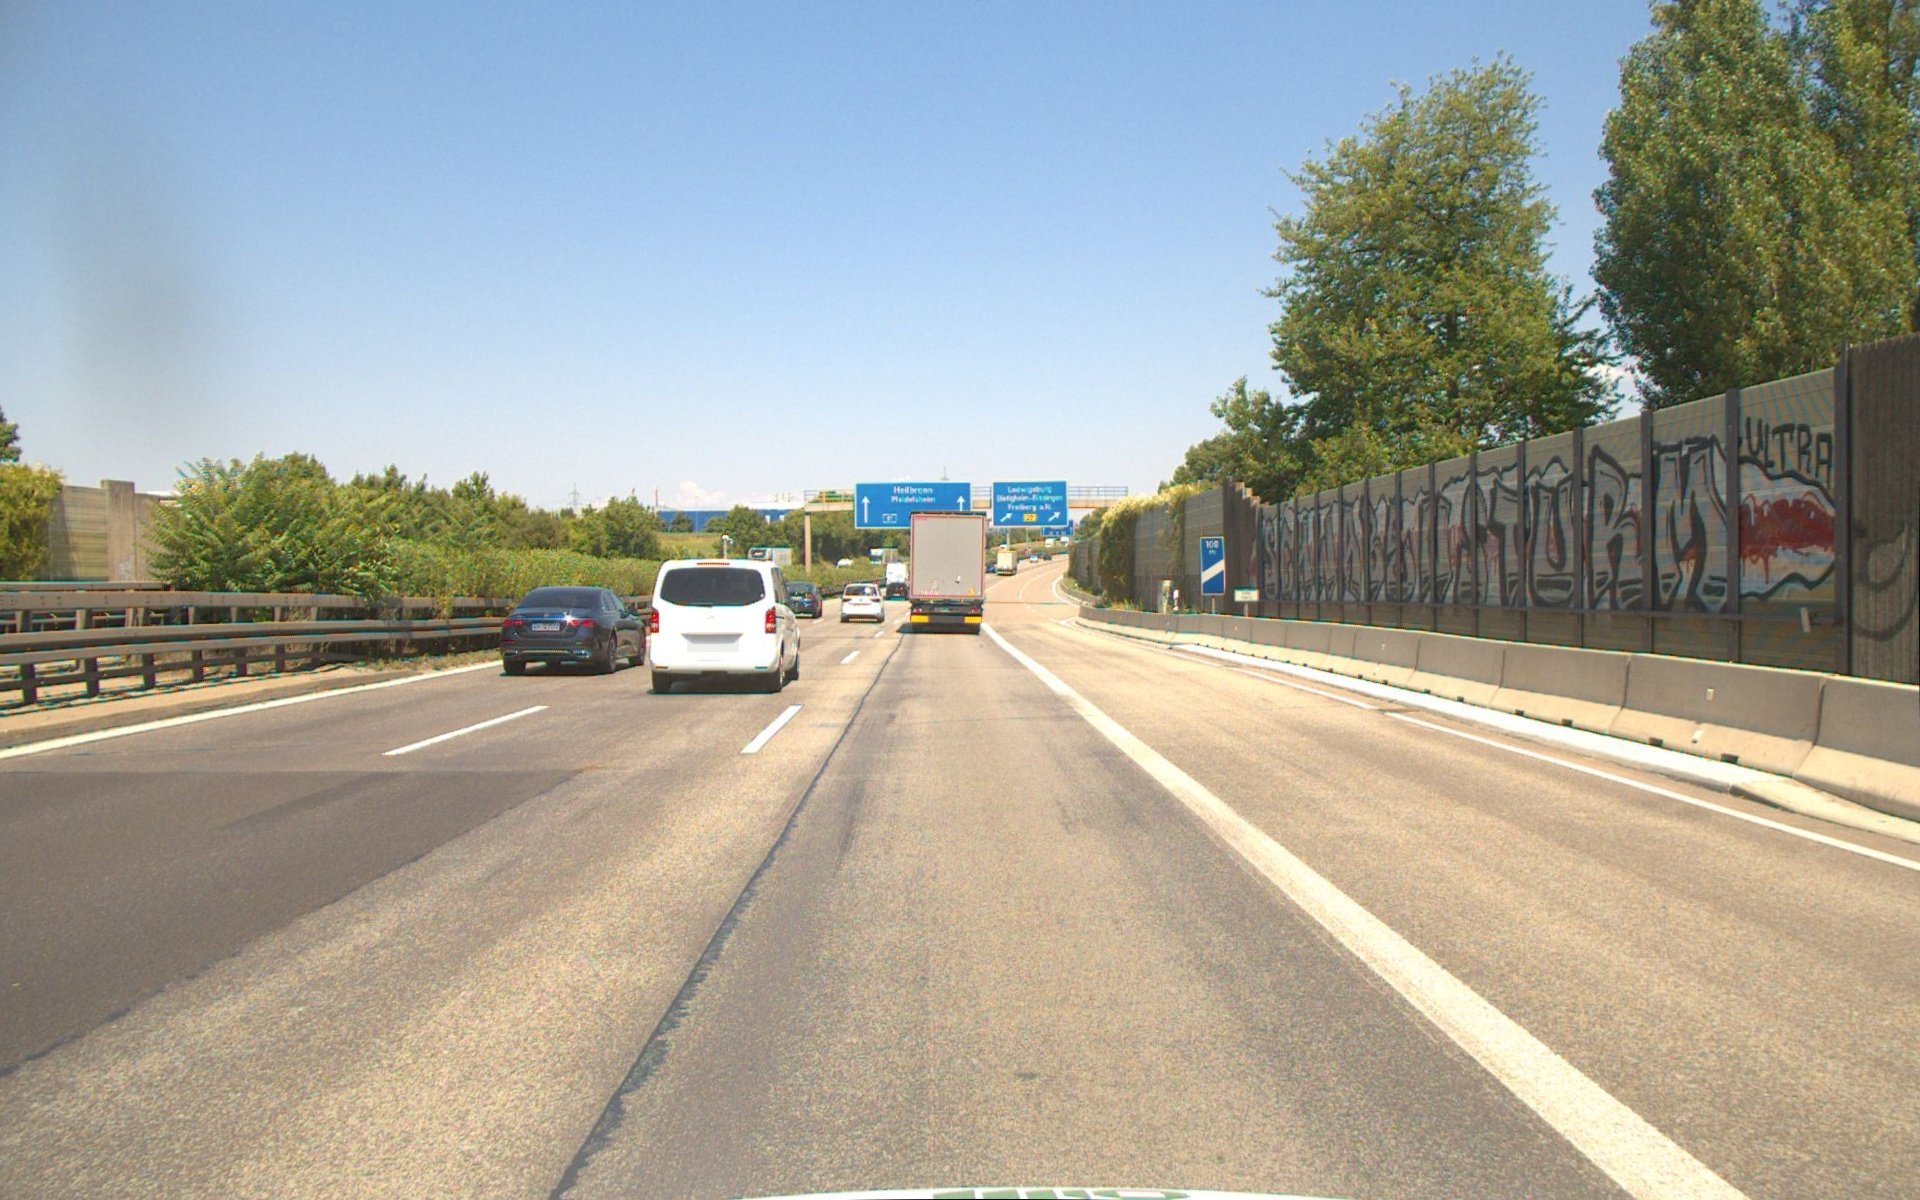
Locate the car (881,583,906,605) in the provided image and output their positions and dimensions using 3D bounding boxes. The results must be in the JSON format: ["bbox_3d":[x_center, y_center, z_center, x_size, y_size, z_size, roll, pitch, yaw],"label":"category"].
[{"bbox_3d":[-5.204,-0.443,130.608,1.866,1.718,4.630,0,0,-1],"label":"car"}]

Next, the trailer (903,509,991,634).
[{"bbox_3d":[-0.374,-0.955,60.104,2.868,4.085,12.038,0,0,0],"label":"trailer"}]

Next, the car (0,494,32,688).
[{"bbox_3d":[-14.871,-0.120,21.587,2.195,2.806,6.218,0,0,-2],"label":"car"}]

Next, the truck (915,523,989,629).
[{"bbox_3d":[-0.291,-0.952,67.696,2.868,4.085,7.583,0,0,0],"label":"truck"}]

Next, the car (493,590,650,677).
[{"bbox_3d":[-6.882,0.548,29.821,1.721,1.433,5.038,0,0,-1],"label":"car"}]

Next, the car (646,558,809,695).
[{"bbox_3d":[-3.411,0.353,25.085,1.891,1.884,4.691,0,0,-1],"label":"car"}]

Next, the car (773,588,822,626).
[{"bbox_3d":[-7.487,0.303,76.603,1.866,1.718,4.630,0,0,-1],"label":"car"}]

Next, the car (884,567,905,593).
[{"bbox_3d":[-6.482,-1.966,164.103,1.953,2.416,3.999,1,-1,-1],"label":"car"}]

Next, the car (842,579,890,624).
[{"bbox_3d":[-3.975,0.052,70.692,1.866,1.884,4.630,0,0,-1],"label":"car"}]
